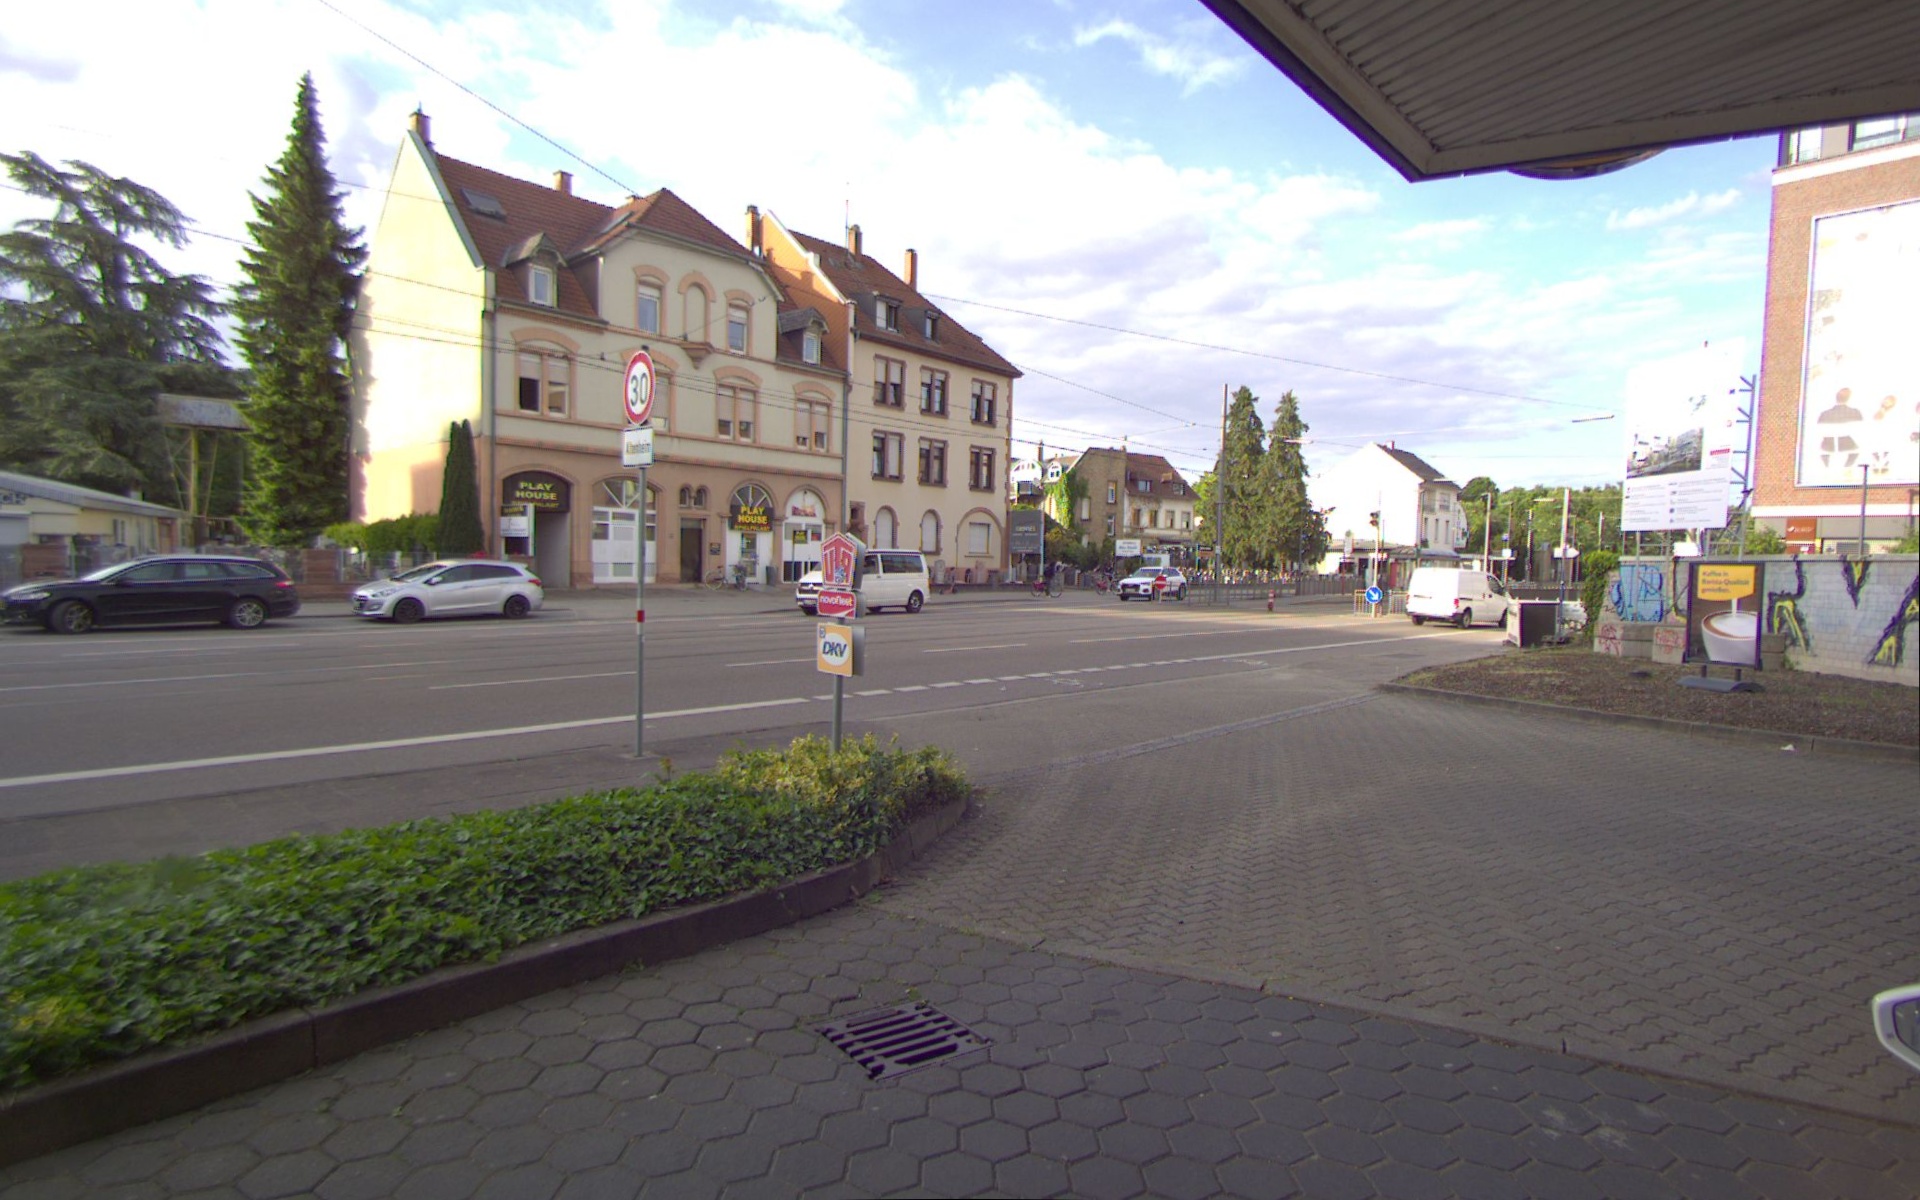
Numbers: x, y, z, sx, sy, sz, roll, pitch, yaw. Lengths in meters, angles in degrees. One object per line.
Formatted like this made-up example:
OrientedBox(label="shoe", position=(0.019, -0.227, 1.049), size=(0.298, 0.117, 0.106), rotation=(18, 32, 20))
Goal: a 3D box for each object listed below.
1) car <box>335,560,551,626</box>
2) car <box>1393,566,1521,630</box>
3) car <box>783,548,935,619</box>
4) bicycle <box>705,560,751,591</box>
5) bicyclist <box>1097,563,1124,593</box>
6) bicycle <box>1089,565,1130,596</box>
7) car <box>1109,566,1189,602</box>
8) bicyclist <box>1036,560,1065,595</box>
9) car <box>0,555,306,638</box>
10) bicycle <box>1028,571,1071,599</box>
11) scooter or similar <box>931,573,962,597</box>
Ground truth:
OrientedBox(label="car", position=(-13.002, -0.241, 25.473), size=(1.970, 1.495, 4.467), rotation=(3, 3, 40))
OrientedBox(label="car", position=(16.288, -0.070, 32.866), size=(4.370, 1.915, 1.948), rotation=(0, 2, -37))
OrientedBox(label="car", position=(-2.995, -0.556, 30.943), size=(1.967, 1.995, 4.873), rotation=(2, 3, 35))
OrientedBox(label="bicycle", position=(-9.145, -0.949, 39.718), size=(0.508, 1.189, 1.809), rotation=(4, 2, 40))
OrientedBox(label="bicyclist", position=(7.954, -1.174, 53.059), size=(1.079, 1.512, 0.785), rotation=(2, 4, -20))
OrientedBox(label="bicycle", position=(7.900, -1.039, 53.049), size=(1.962, 1.512, 0.785), rotation=(2, 4, -21))
OrientedBox(label="car", position=(8.948, -0.800, 47.327), size=(1.813, 1.598, 4.361), rotation=(2, 2, 39))
OrientedBox(label="bicyclist", position=(4.374, -1.097, 48.540), size=(0.953, 1.579, 0.839), rotation=(1, 6, -31))
OrientedBox(label="car", position=(-16.570, -0.143, 20.740), size=(1.970, 1.516, 4.801), rotation=(3, 3, 40))
OrientedBox(label="bicycle", position=(4.345, -0.706, 48.585), size=(1.884, 1.219, 0.839), rotation=(1, 6, -31))
OrientedBox(label="scooter or similar", position=(-0.600, -0.683, 45.145), size=(0.488, 1.015, 1.592), rotation=(5, 5, 39))
